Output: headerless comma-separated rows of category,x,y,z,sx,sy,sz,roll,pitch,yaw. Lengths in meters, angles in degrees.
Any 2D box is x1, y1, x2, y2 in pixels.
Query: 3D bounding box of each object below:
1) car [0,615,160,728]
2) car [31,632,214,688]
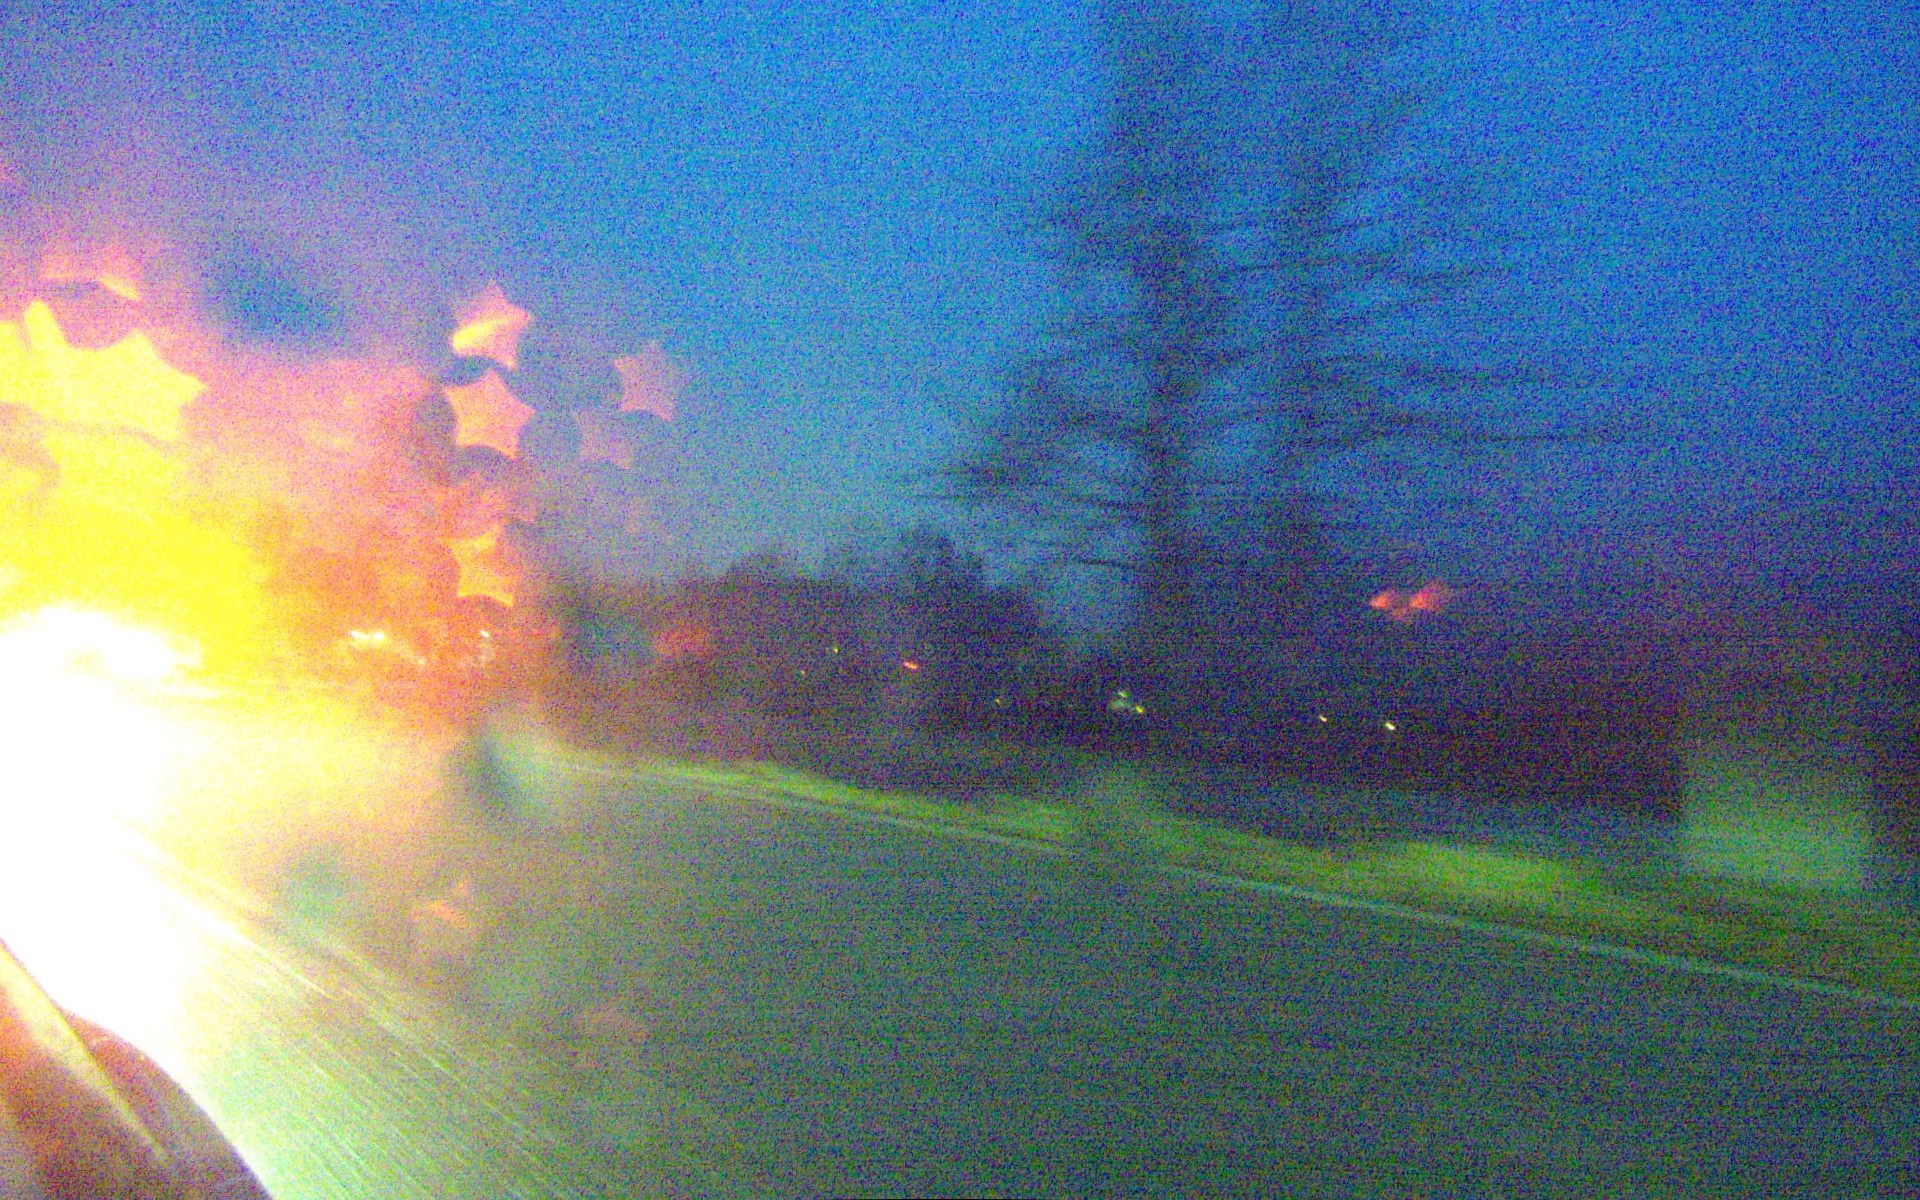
car,-14.288,1.068,15.840,4.140,1.554,1.749,-2,-3,37
car,-31.153,2.265,37.788,1.932,1.852,4.884,-2,-6,39
